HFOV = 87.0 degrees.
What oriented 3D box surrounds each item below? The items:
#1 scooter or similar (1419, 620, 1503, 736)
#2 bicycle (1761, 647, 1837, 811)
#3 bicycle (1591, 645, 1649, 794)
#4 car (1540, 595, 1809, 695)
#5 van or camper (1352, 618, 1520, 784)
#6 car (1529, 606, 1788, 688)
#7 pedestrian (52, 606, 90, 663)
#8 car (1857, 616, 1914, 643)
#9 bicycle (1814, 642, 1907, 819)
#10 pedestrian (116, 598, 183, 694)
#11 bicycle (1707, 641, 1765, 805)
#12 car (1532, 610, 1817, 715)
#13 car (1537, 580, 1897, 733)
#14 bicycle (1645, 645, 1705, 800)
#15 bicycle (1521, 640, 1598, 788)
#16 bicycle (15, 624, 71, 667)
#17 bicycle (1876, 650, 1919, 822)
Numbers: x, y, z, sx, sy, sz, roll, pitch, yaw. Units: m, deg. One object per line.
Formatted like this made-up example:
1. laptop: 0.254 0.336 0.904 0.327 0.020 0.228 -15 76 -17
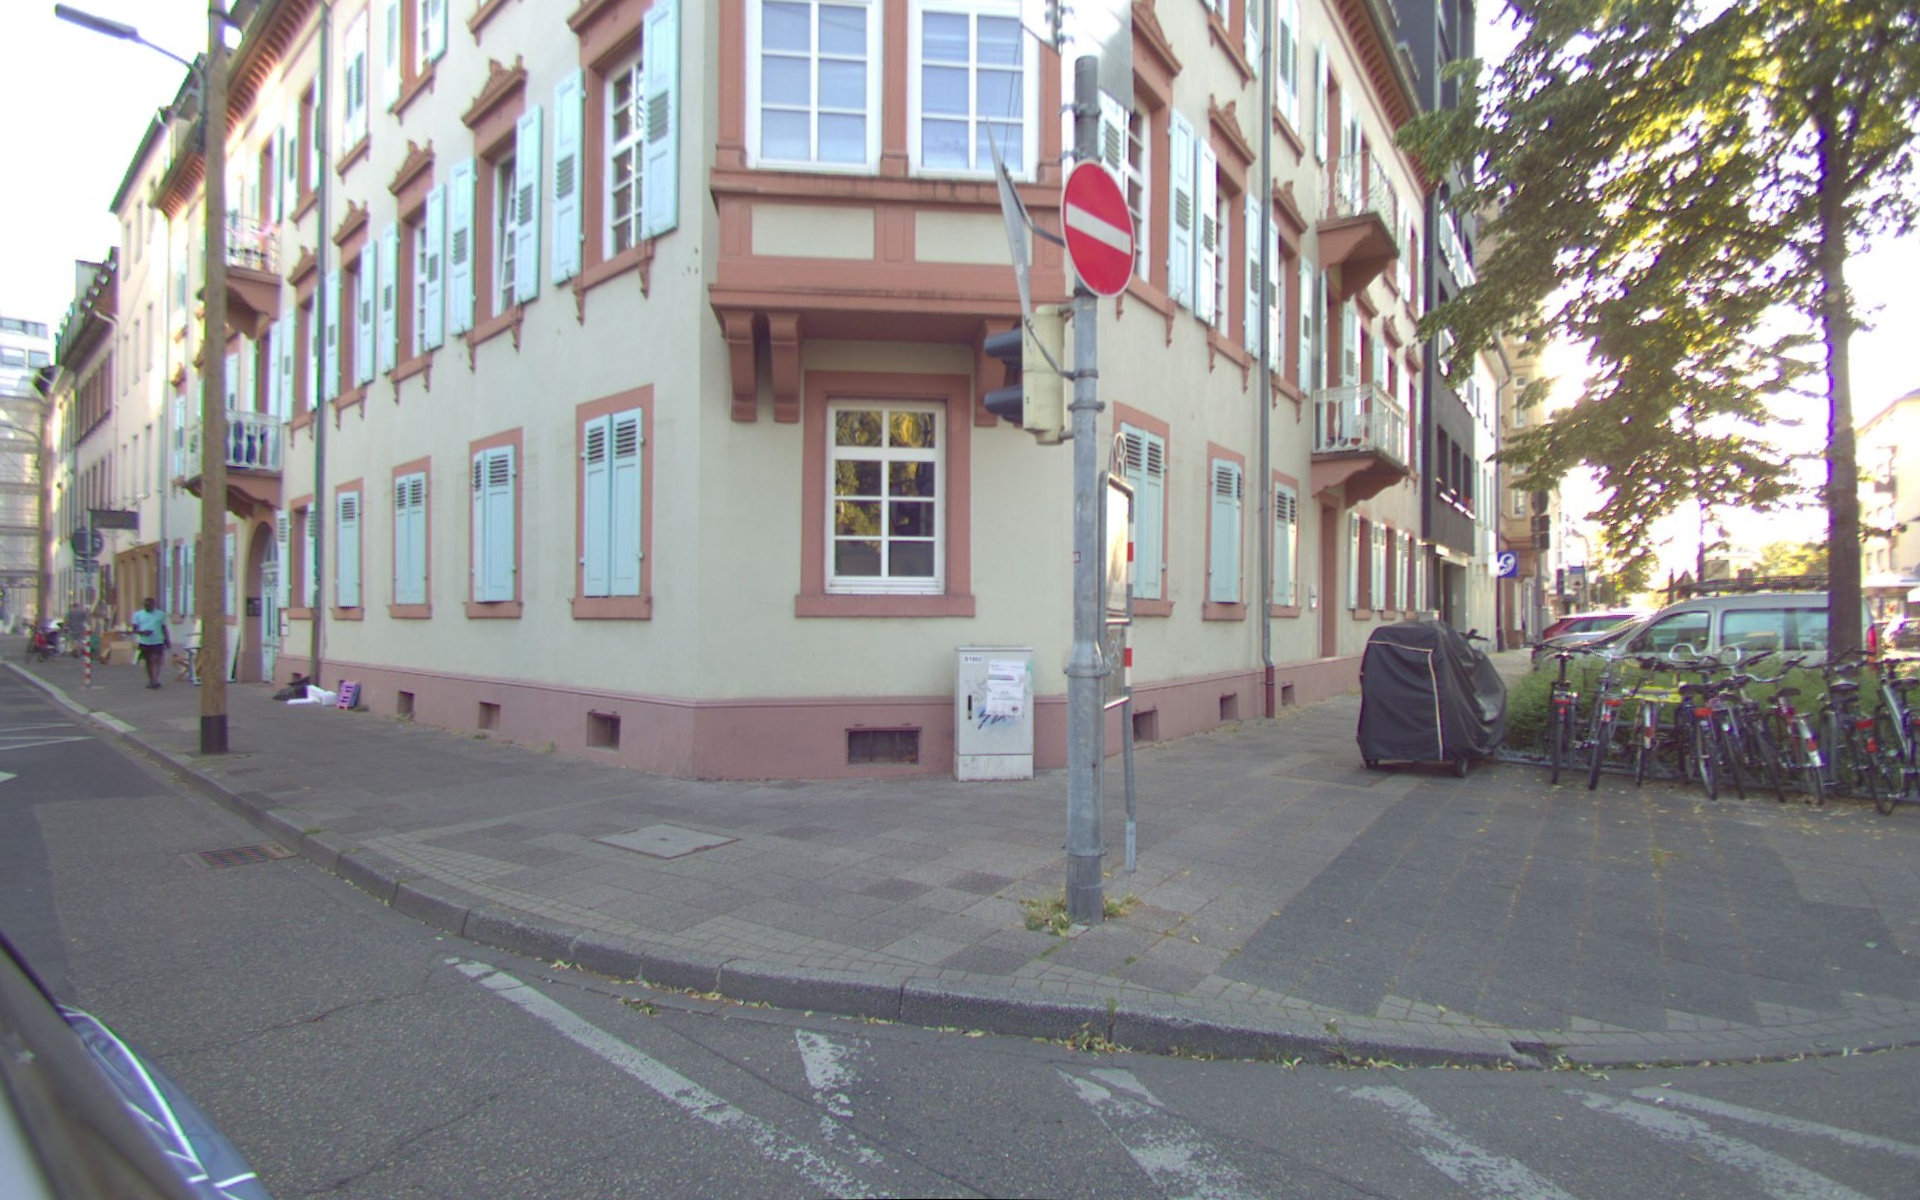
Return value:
1. scooter or similar: 5.756 0.848 11.597 0.676 1.231 1.379 -1 -1 34
2. bicycle: 6.444 0.937 7.805 0.319 1.090 1.577 2 0 36
3. bicycle: 5.440 0.928 8.316 0.322 1.090 1.577 0 -2 36
4. car: 12.848 0.756 18.379 3.832 1.597 1.719 1 -1 37
5. van or camper: 4.210 0.807 8.881 0.943 1.269 1.821 1 -1 38
6. car: 14.088 0.914 20.739 4.206 1.528 1.743 -1 -1 31
7. pedestrian: -27.166 1.033 30.932 0.649 1.709 0.815 -1 -1 42
8. car: 49.803 1.588 54.519 1.634 1.435 3.715 -1 -2 33
9. bicycle: 6.695 0.910 7.562 0.331 1.149 1.577 2 0 36
10. pedestrian: -14.971 0.832 18.701 0.649 1.709 0.815 -1 1 42
11. bicycle: 6.098 0.912 7.985 0.312 1.157 1.592 0 -2 36
12. car: 11.587 0.941 16.562 3.658 1.526 1.627 -1 -1 39
13. car: 10.396 0.726 14.175 3.817 1.863 1.678 -1 -2 38
14. bicycle: 5.724 0.924 8.096 0.341 1.090 1.577 -1 -2 36
15. bicycle: 5.076 0.909 8.532 0.396 1.090 1.577 2 0 36
16. bicycle: -25.982 1.271 28.698 0.649 1.179 1.613 0 -1 -21
17. bicycle: 7.046 0.947 7.334 0.396 1.116 1.691 2 0 36
